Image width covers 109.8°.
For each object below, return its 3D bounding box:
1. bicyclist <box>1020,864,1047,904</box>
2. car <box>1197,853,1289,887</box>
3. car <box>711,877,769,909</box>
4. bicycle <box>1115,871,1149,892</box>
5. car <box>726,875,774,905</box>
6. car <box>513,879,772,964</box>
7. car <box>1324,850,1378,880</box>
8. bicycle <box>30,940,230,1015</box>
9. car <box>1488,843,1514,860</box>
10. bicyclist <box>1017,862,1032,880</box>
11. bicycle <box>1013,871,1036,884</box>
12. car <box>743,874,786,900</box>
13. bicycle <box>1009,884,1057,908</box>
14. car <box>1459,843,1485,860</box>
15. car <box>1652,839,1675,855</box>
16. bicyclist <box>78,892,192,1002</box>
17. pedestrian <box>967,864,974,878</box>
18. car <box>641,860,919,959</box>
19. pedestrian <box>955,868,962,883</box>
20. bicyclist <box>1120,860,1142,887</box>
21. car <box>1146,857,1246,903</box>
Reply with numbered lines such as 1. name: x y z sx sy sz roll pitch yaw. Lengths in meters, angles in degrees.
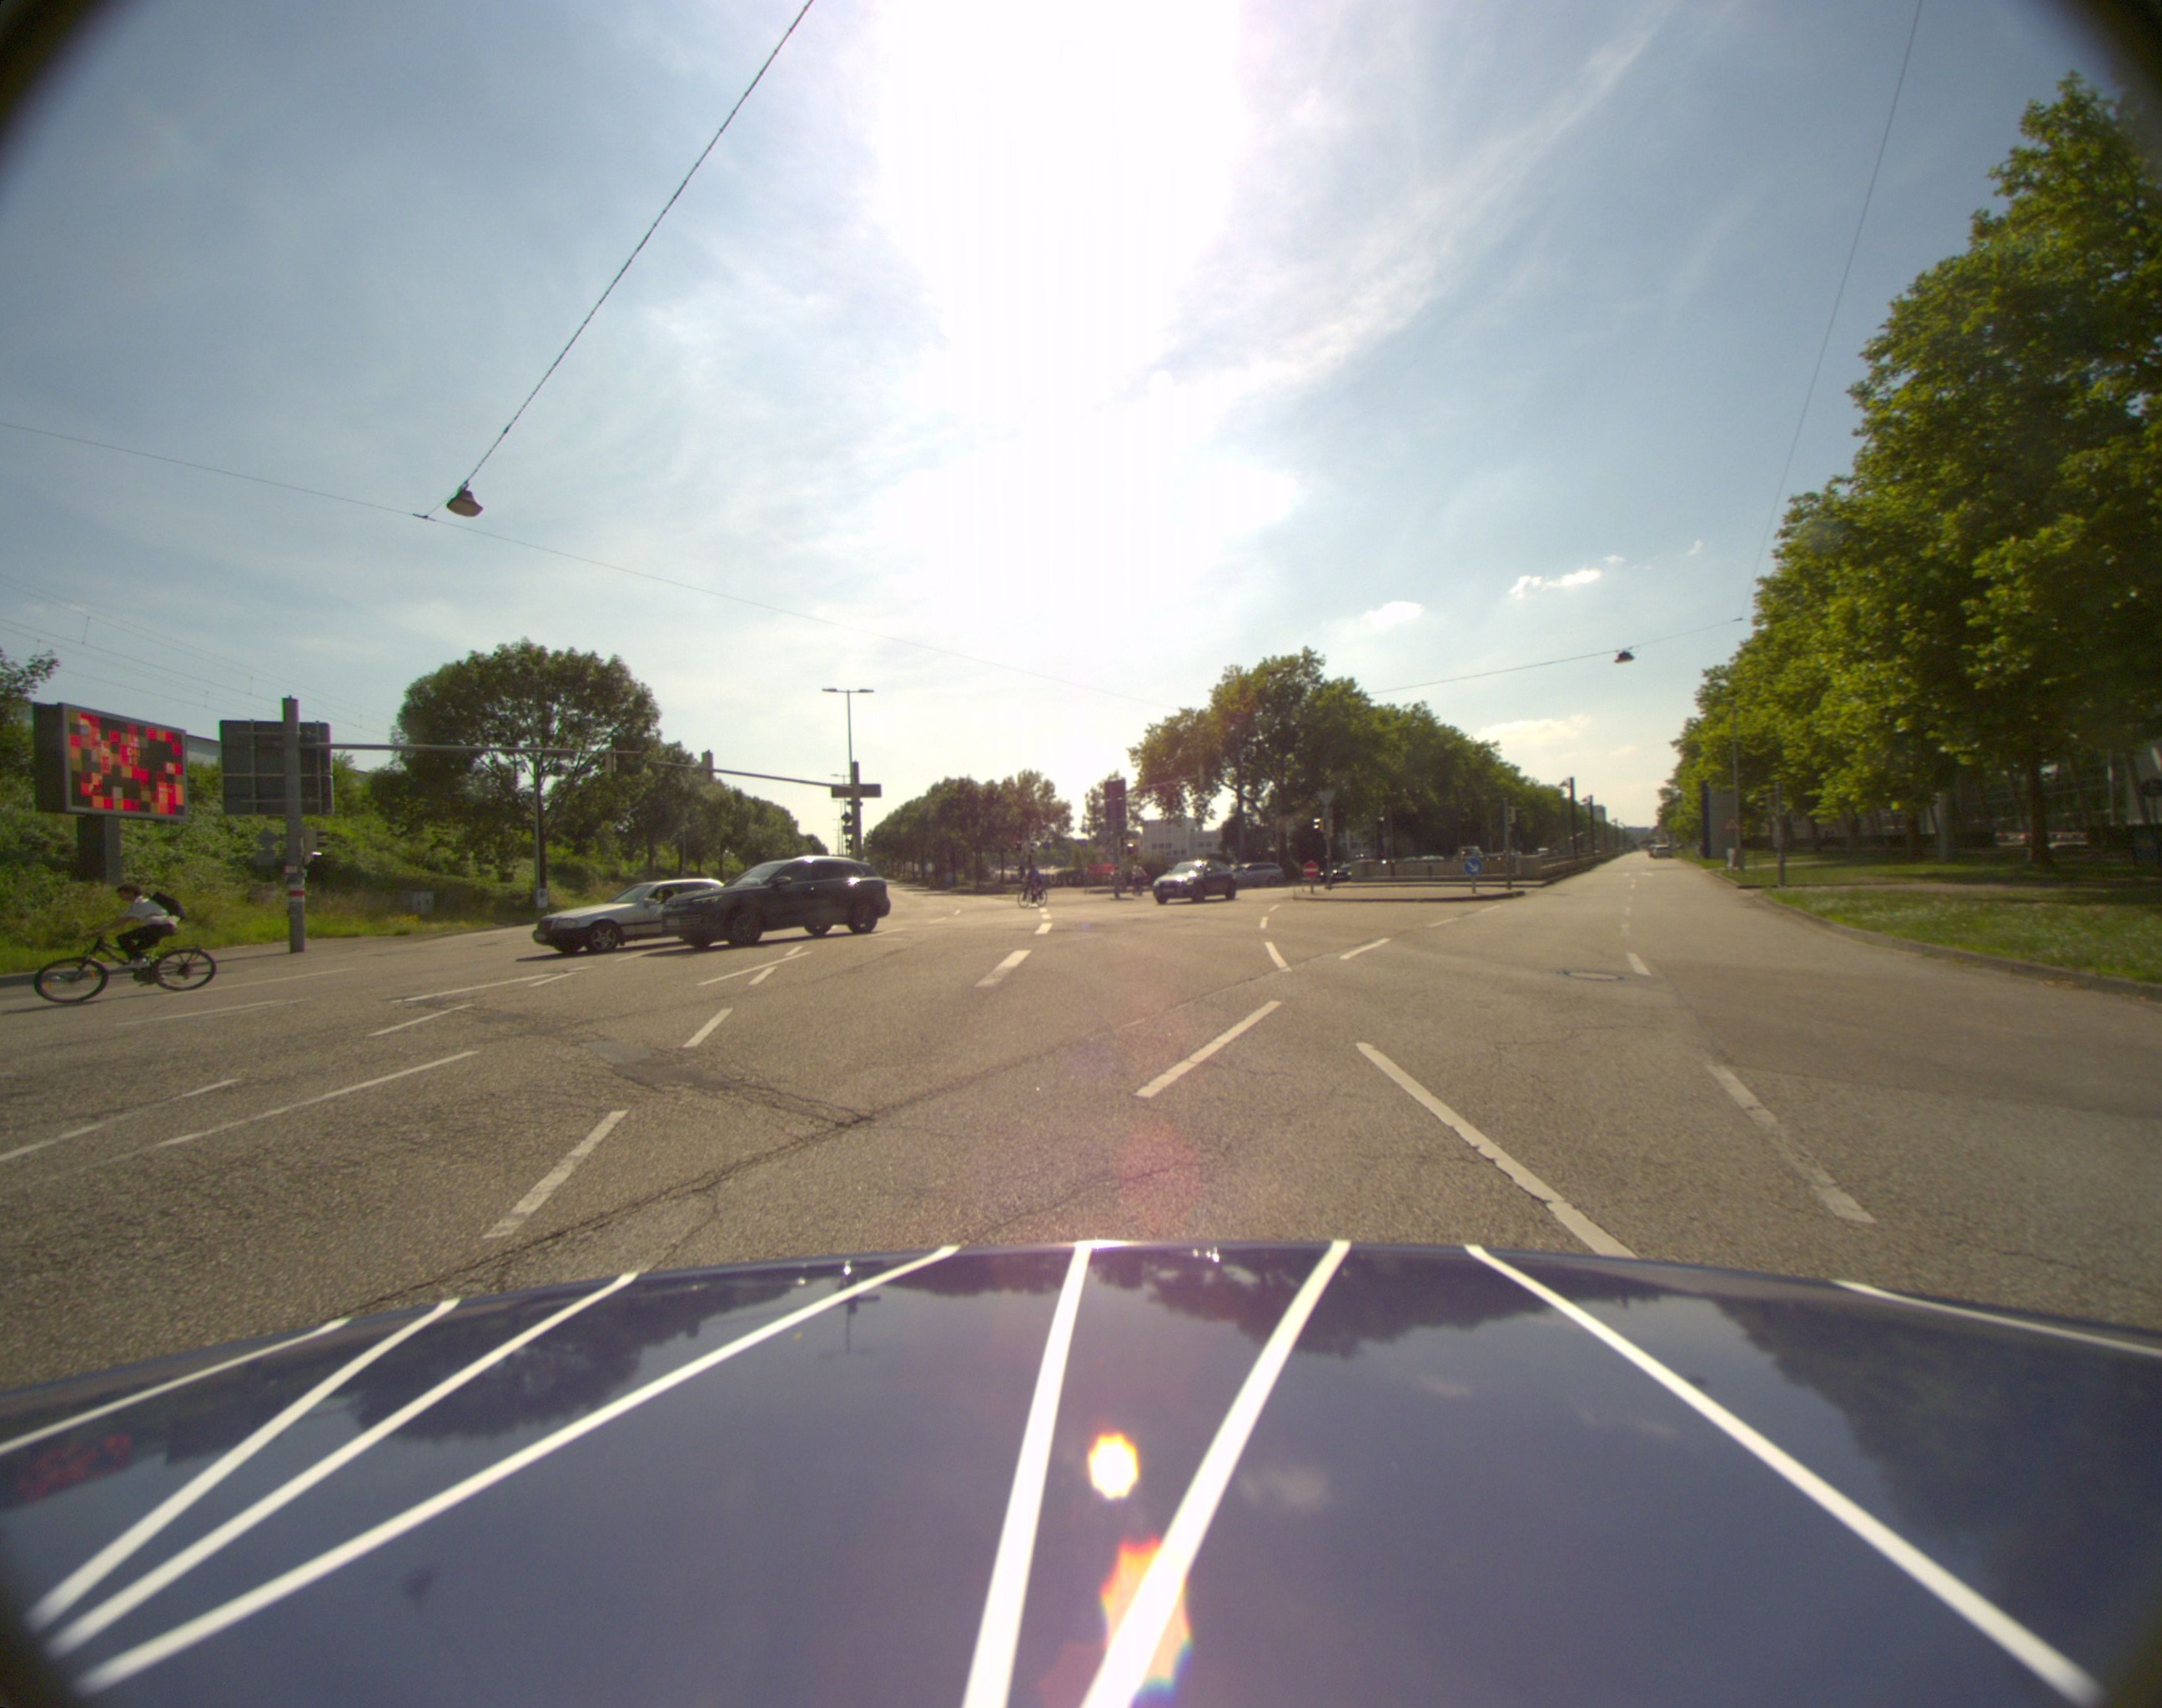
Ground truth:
1. bicyclist: -1.906 1.199 30.428 0.546 1.557 0.911 -2 0 36
2. car: 9.861 0.972 46.261 5.169 1.713 1.997 -3 -2 -22
3. car: -16.584 1.899 37.125 1.716 1.384 3.997 -3 -2 -12
4. bicycle: 2.682 1.453 40.420 0.774 1.047 2.396 -2 0 -23
5. car: -18.723 2.039 43.119 1.717 1.498 3.997 -3 -2 -13
6. car: -9.159 1.339 16.273 1.711 1.383 4.450 -3 -1 36
7. car: 15.972 0.646 44.788 1.814 1.603 4.008 -4 -2 37
8. bicycle: -15.137 1.926 12.153 0.816 0.887 1.930 -4 -2 35
9. car: 48.876 -0.297 88.451 1.868 1.744 4.008 -2 0 40
10. bicyclist: -4.654 1.420 62.264 0.885 1.434 0.964 -2 0 -25
11. bicycle: -4.661 1.905 62.323 0.885 1.053 2.767 -2 0 -25
12. car: -20.192 2.129 48.602 1.716 1.498 3.997 -3 -2 -12
13. bicycle: -1.894 1.675 30.435 0.546 0.830 2.305 -2 0 36
14. car: 46.511 -0.347 90.244 1.868 1.925 4.008 -2 0 40
15. car: 66.684 -0.785 86.996 1.899 1.630 4.008 -4 -2 35
16. bicyclist: -15.143 1.453 12.172 0.804 1.624 1.070 -4 -2 36
17. pedestrian: -12.316 1.923 84.773 0.579 1.515 0.878 -2 0 -19
18. car: -5.953 1.006 15.672 1.943 1.598 4.985 -2 0 37
19. pedestrian: -13.926 2.408 86.155 0.631 1.699 0.767 -2 0 -19
20. bicyclist: 2.663 1.033 40.444 0.774 1.427 0.919 -2 0 -23
21. car: 4.554 0.971 29.431 1.825 1.540 4.570 -3 -1 37
